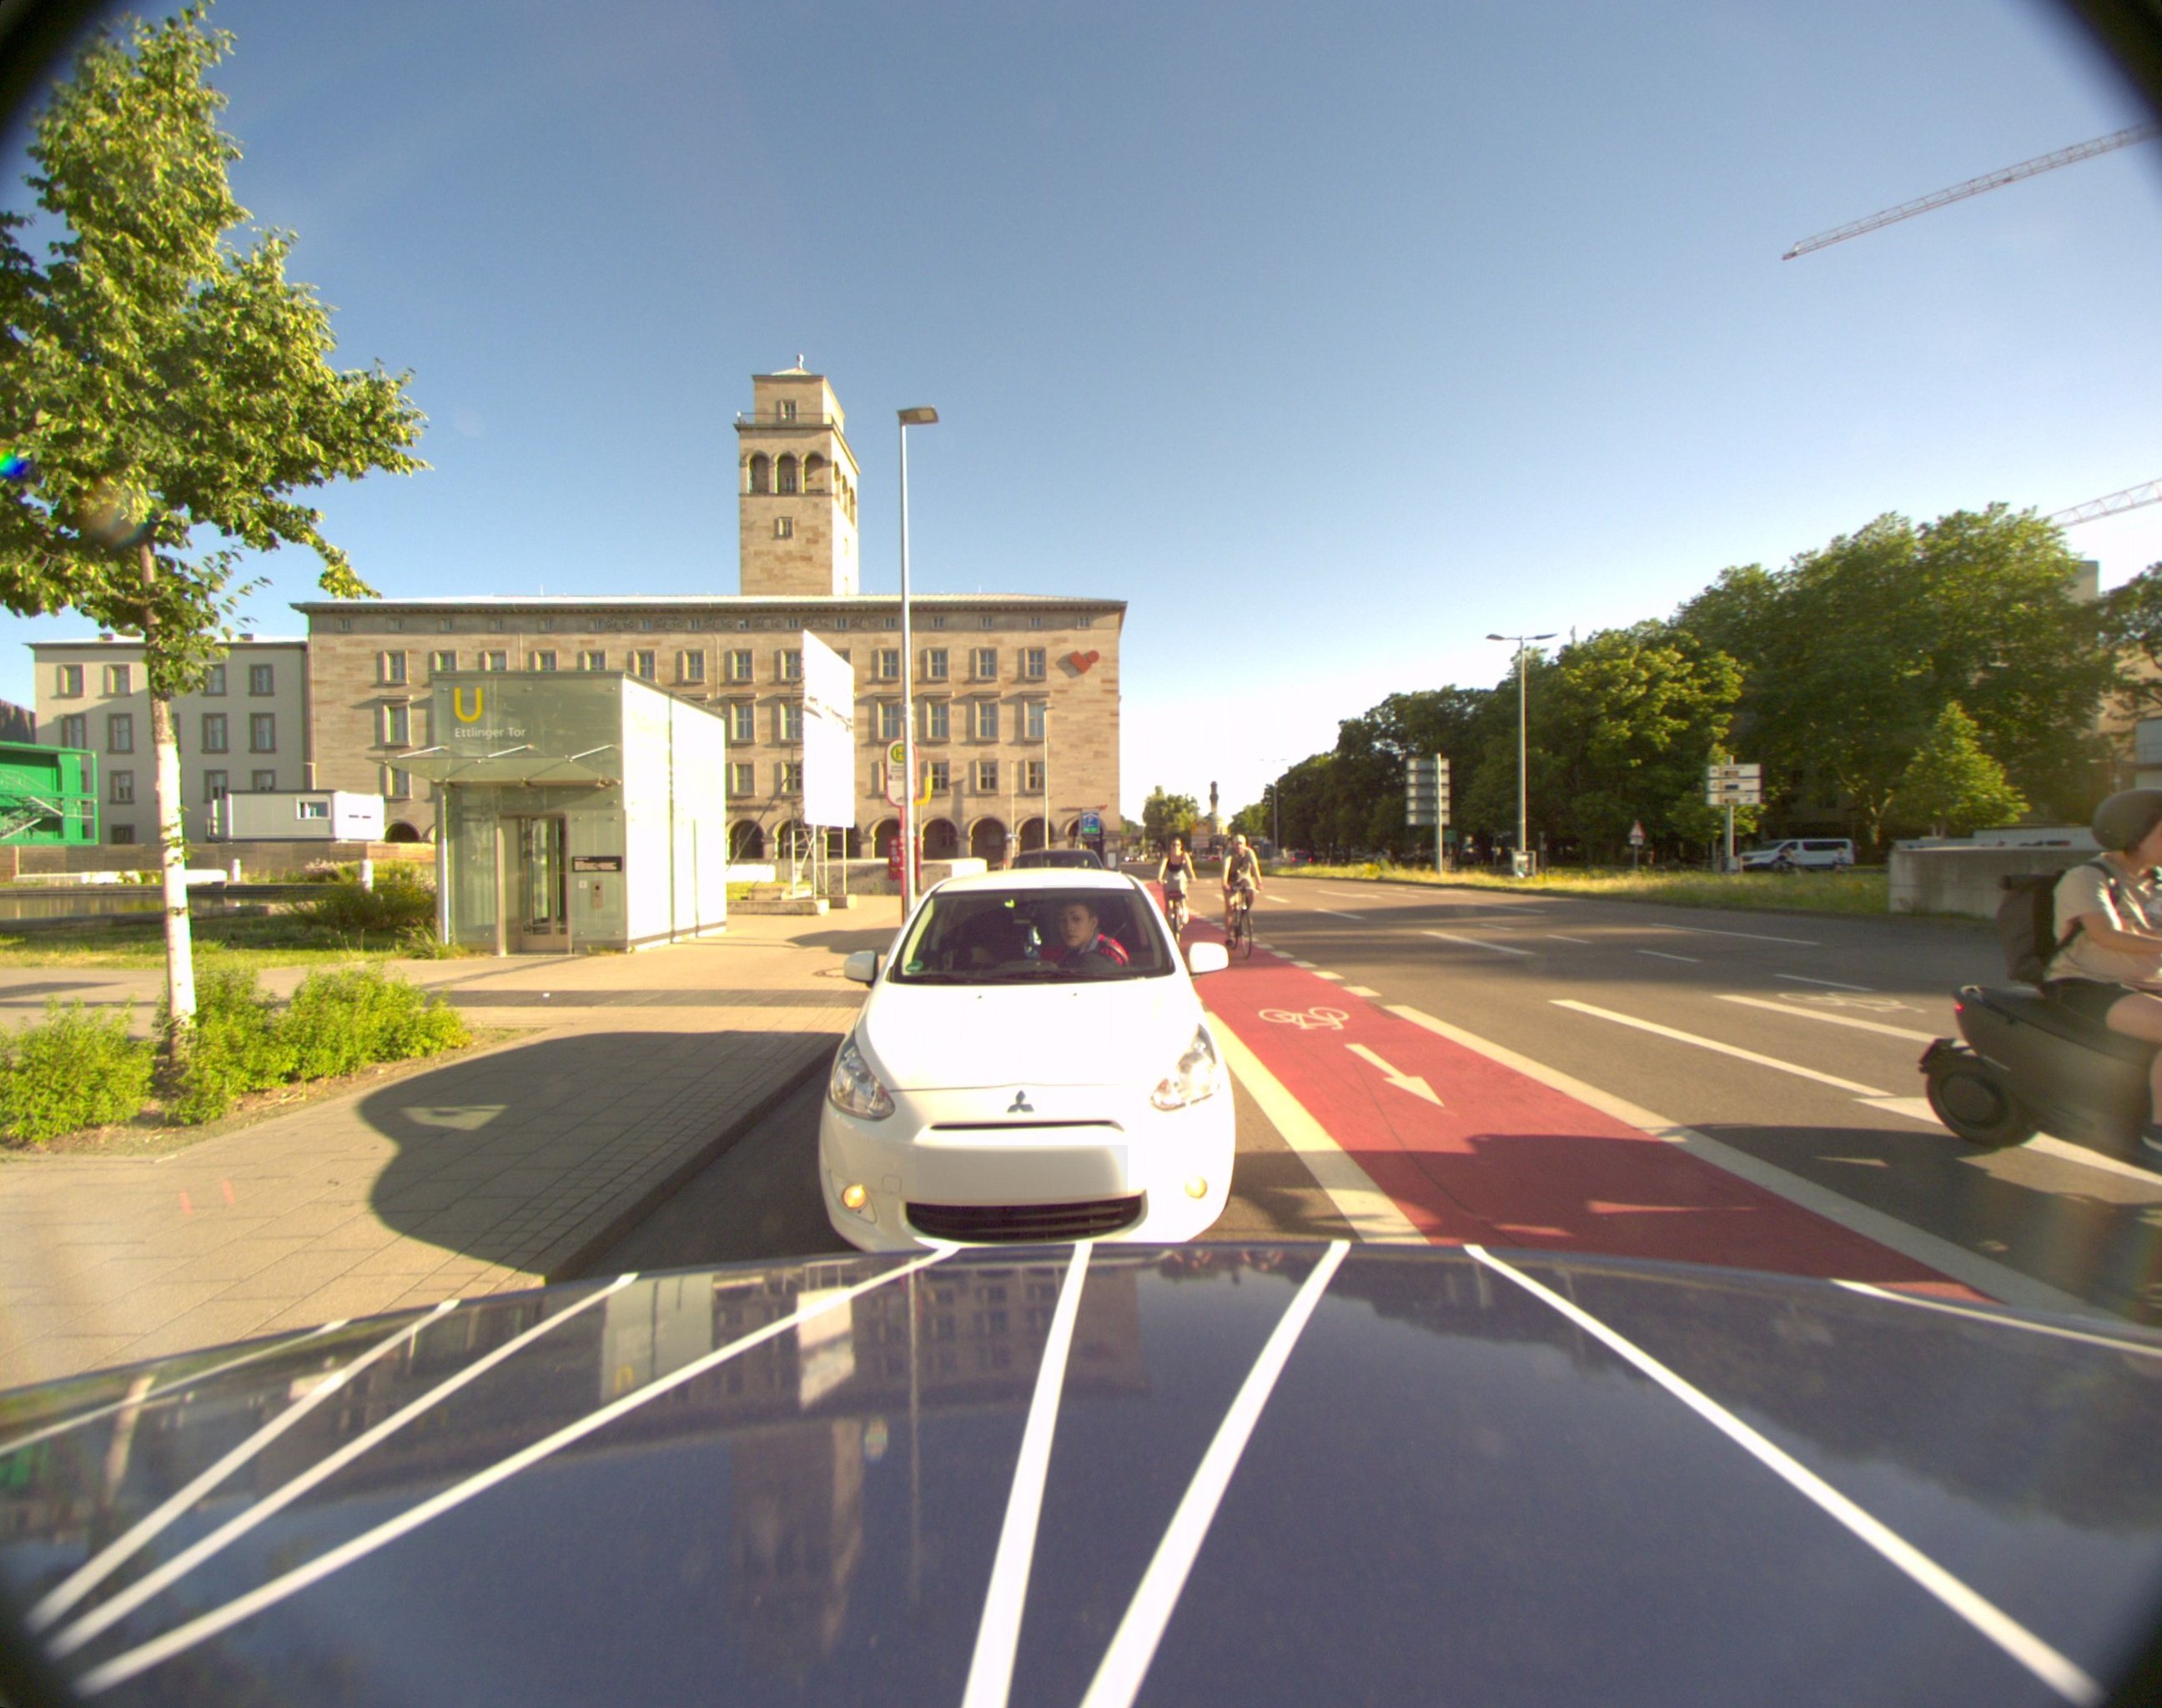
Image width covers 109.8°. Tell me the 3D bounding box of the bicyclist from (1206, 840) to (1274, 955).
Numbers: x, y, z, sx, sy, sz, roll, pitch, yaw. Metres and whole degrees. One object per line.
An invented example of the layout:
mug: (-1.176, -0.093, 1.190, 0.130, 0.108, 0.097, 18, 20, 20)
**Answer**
bicyclist: (2.324, 0.617, 11.207, 0.718, 1.596, 0.841, -2, 1, -5)

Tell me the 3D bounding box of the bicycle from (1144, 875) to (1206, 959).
bicycle: (1.512, 0.992, 12.532, 0.617, 1.211, 1.831, -2, 0, -4)

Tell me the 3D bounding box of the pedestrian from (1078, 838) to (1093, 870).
pedestrian: (0.372, 0.025, 61.684, 1.122, 2.524, 1.055, -2, 1, 1)

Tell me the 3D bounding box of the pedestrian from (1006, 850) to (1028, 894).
pedestrian: (-3.775, 1.064, 45.124, 1.122, 2.524, 1.055, -2, 1, 1)

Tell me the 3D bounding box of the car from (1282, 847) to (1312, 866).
car: (21.624, 0.254, 76.176, 1.819, 1.817, 3.999, -2, 1, 1)

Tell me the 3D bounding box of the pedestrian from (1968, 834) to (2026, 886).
pedestrian: (36.172, 0.221, 30.015, 0.940, 2.002, 1.137, -2, 1, -5)

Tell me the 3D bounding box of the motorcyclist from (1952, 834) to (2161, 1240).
motorcyclist: (4.278, 0.660, 2.941, 0.727, 1.466, 0.917, -2, 0, 1)

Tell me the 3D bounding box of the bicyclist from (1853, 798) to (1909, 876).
bicyclist: (32.453, -0.674, 30.847, 0.841, 3.085, 1.306, -2, 1, -1)

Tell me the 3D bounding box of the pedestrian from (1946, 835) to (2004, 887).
pedestrian: (35.185, 0.268, 29.911, 0.940, 2.002, 1.137, -2, 1, -5)

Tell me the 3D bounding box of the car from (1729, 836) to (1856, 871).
car: (42.136, -0.038, 45.113, 5.516, 1.924, 2.065, -1, 1, 2)

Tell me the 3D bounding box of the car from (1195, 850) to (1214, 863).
car: (16.833, 0.298, 103.573, 1.849, 1.677, 3.999, -2, 1, 1)

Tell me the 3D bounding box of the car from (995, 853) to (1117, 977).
car: (-0.371, 0.847, 12.521, 1.642, 1.653, 3.849, -2, 0, -1)

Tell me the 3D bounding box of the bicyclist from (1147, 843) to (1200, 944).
bicyclist: (1.502, 0.620, 12.410, 0.643, 1.570, 0.875, -2, 1, -5)

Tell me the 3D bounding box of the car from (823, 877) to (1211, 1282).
car: (-0.232, 0.960, 4.842, 1.496, 1.477, 3.604, -2, 0, 1)

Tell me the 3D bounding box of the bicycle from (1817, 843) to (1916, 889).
bicycle: (32.477, 0.491, 31.511, 0.841, 1.800, 3.082, -2, -1, -1)

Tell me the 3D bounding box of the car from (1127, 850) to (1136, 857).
car: (11.924, -0.163, 180.112, 1.849, 1.677, 4.000, -2, 1, 2)

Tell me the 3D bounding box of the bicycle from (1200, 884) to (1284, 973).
bicycle: (2.333, 1.045, 11.252, 0.649, 1.103, 1.970, -2, 0, -4)

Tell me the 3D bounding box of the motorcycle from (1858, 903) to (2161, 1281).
motorcycle: (4.285, 0.904, 2.888, 0.724, 1.286, 1.884, -2, 0, 1)
